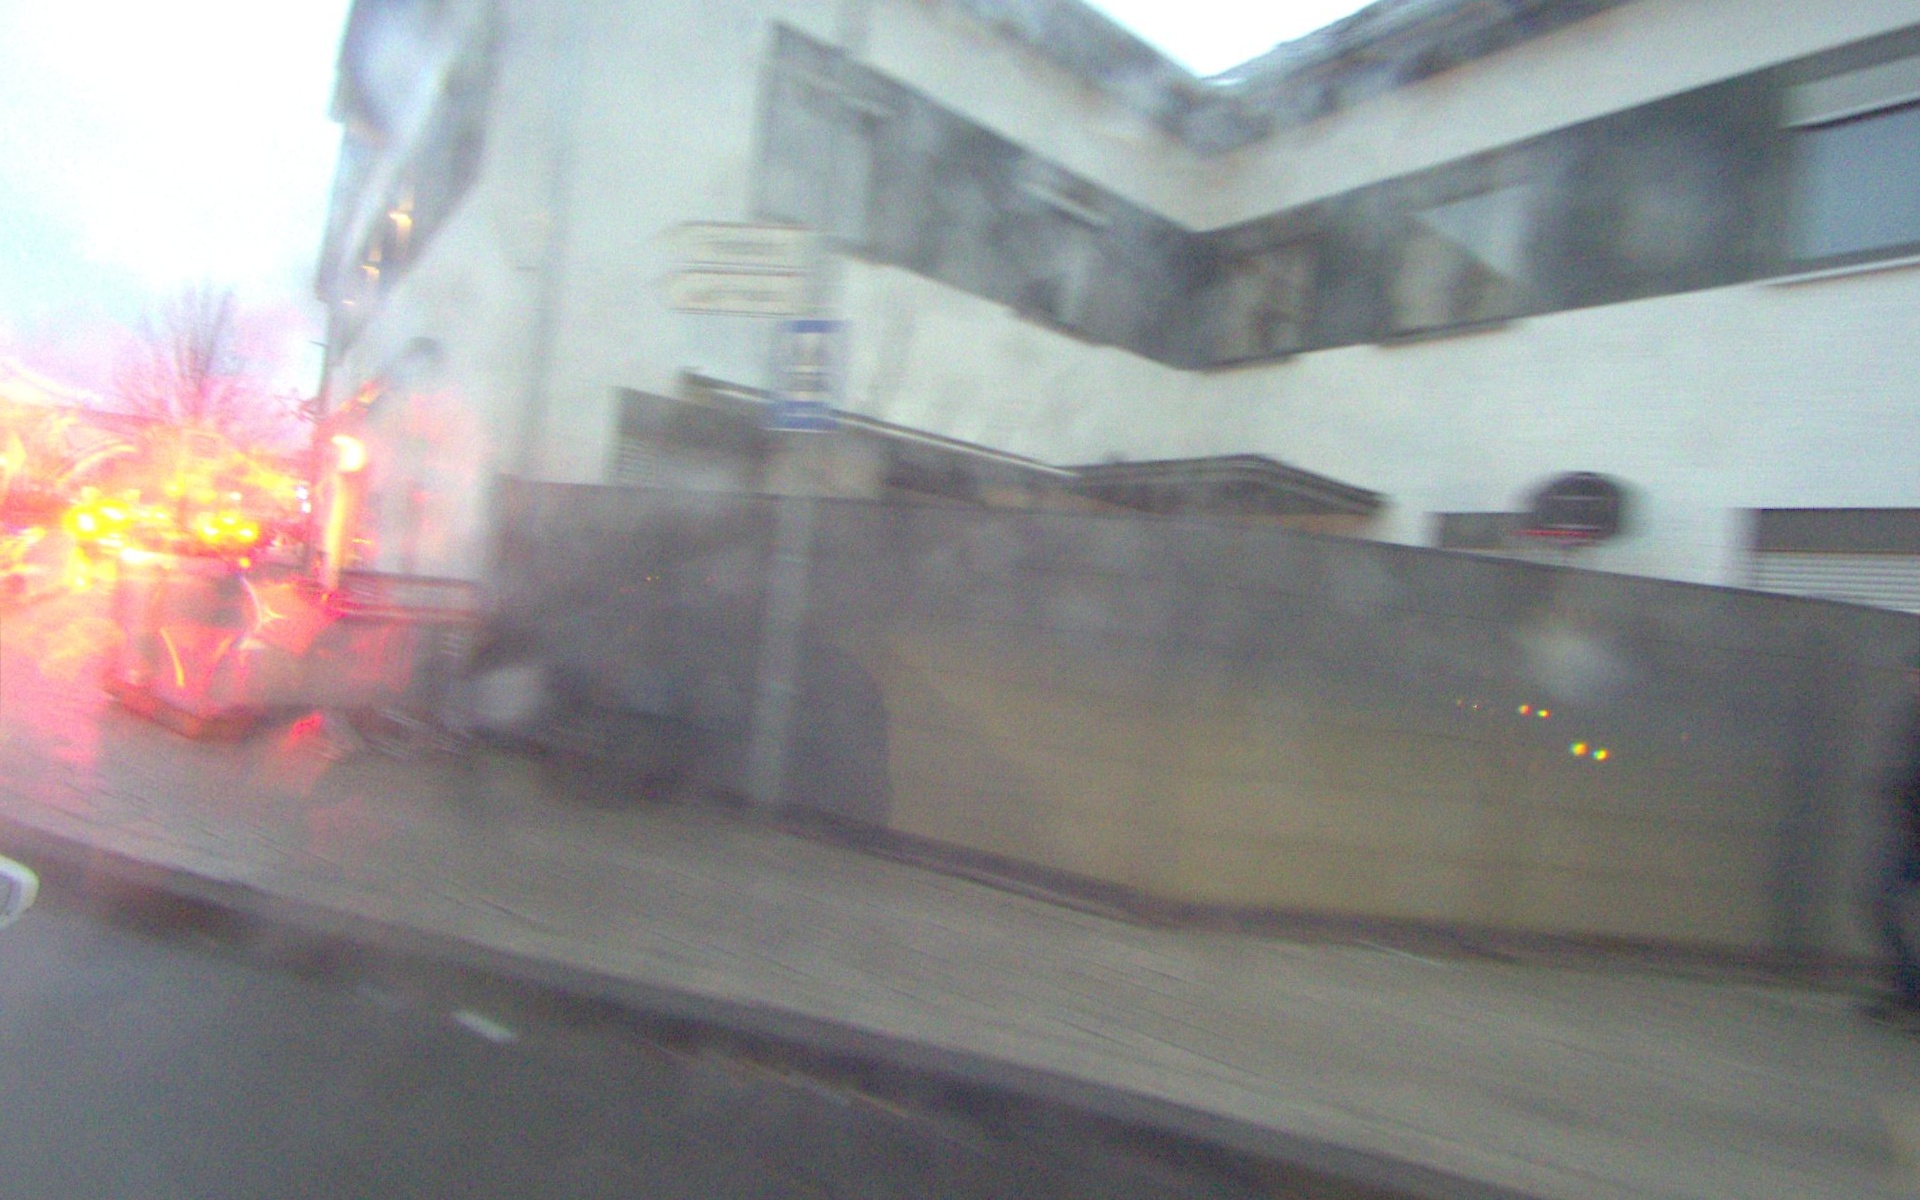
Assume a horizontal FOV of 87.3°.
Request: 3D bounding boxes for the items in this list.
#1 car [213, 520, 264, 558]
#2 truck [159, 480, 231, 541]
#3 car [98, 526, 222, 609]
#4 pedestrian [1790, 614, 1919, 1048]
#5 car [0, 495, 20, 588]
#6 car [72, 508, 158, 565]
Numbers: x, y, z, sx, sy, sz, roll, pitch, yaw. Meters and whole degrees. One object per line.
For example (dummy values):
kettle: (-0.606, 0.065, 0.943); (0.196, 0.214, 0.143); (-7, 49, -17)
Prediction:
car: (-34.559, -2.948, 48.251); (1.679, 1.485, 3.685); (7, 0, -33)
truck: (-45.252, -5.246, 59.694); (2.697, 3.047, 5.938); (7, 0, -33)
car: (-18.829, -0.812, 23.835); (1.799, 1.590, 3.816); (7, 0, -33)
pedestrian: (4.553, 1.047, 4.611); (0.706, 1.856, 0.635); (7, 2, -12)
car: (-17.565, -1.095, 17.079); (1.907, 1.635, 3.907); (7, 0, -38)
car: (-29.534, -2.227, 35.258); (1.711, 1.652, 3.964); (7, 0, -33)
